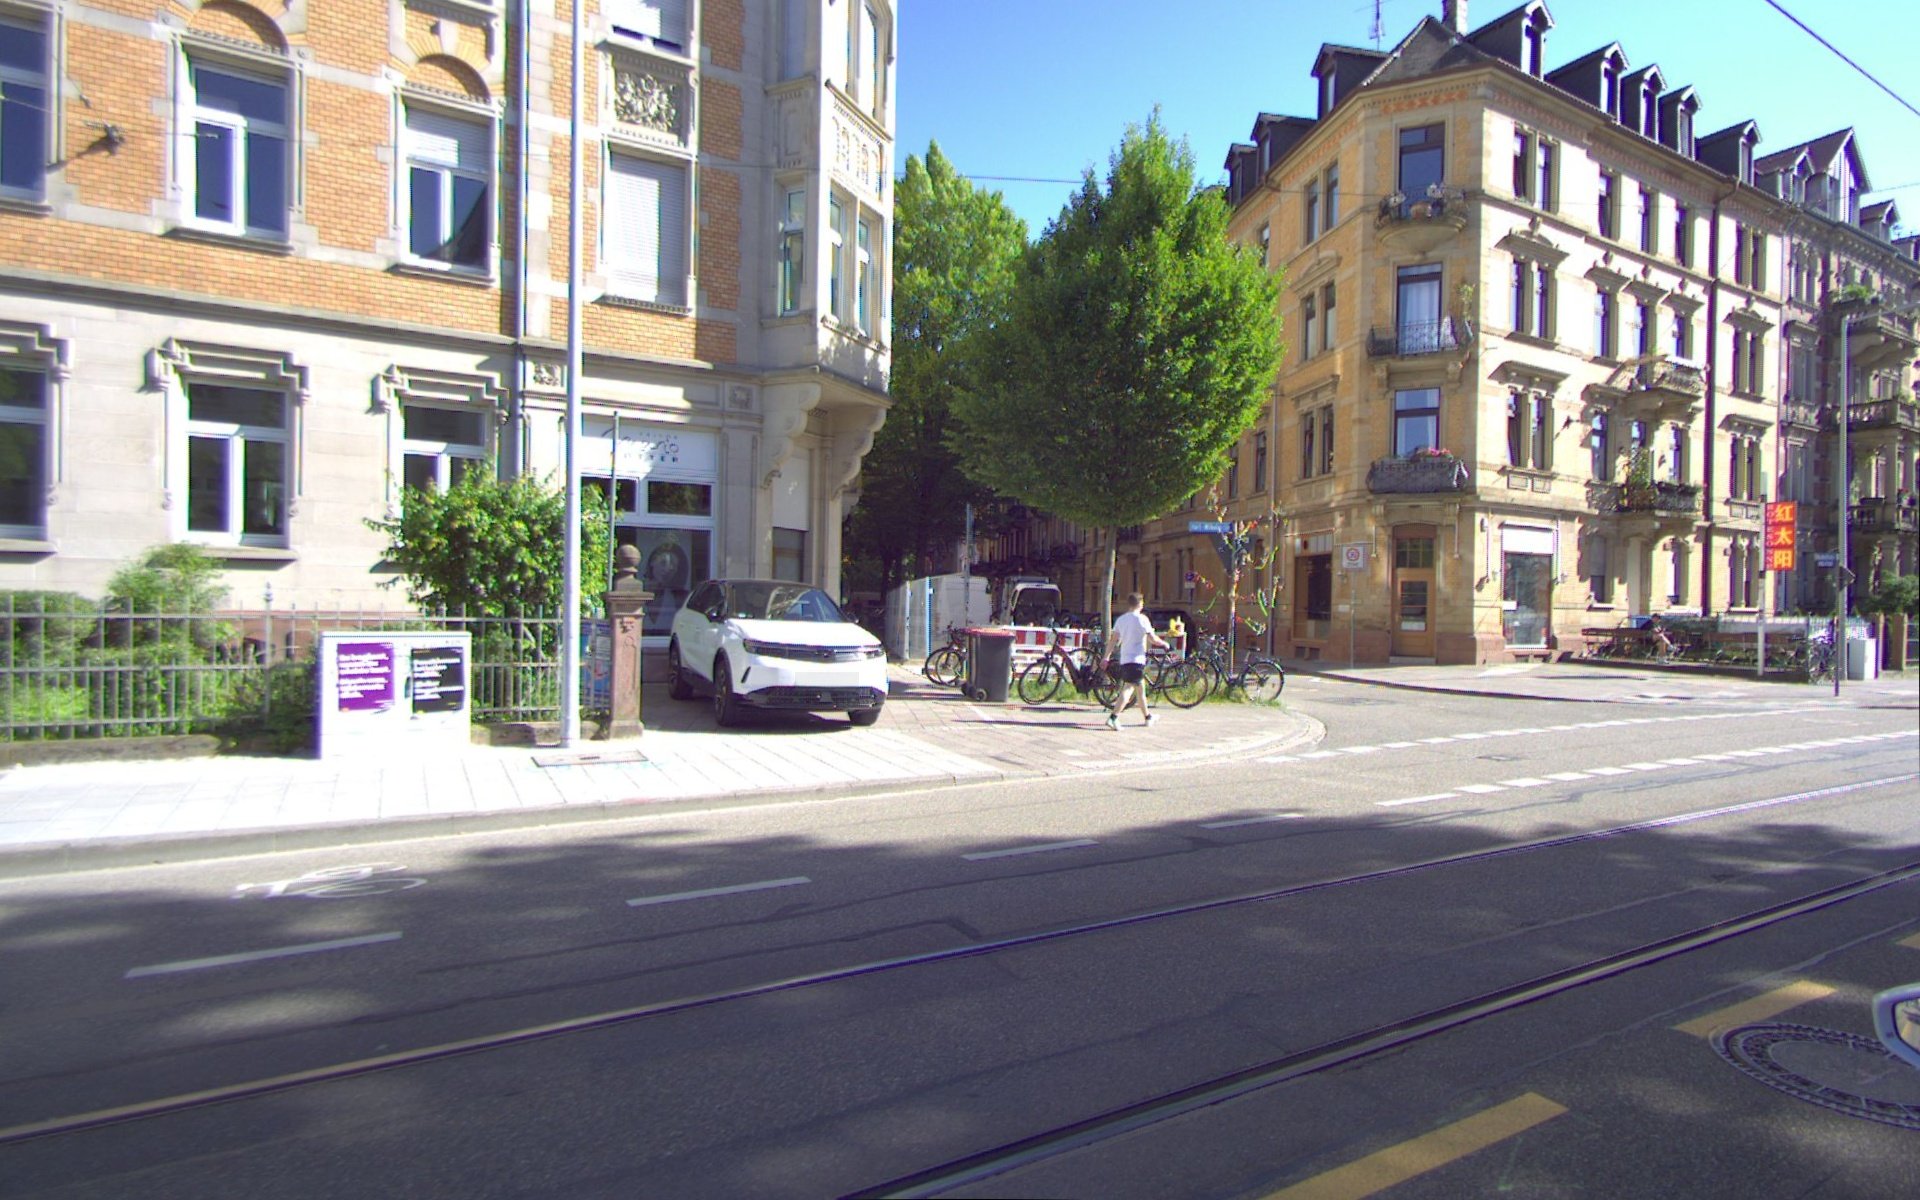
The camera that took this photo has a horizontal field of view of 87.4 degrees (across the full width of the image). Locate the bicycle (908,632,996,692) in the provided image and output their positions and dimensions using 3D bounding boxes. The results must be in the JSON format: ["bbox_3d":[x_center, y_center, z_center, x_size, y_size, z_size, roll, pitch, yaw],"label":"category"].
[{"bbox_3d":[-0.148,1.048,17.202,1.513,0.926,0.247,2,0,25],"label":"bicycle"}]

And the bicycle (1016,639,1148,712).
[{"bbox_3d":[1.759,1.067,14.515,1.754,0.926,0.620,2,0,25],"label":"bicycle"}]

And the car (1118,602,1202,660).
[{"bbox_3d":[6.962,1.040,35.296,1.805,1.773,3.586,-2,2,-7],"label":"car"}]

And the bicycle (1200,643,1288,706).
[{"bbox_3d":[4.655,1.209,16.451,1.270,0.926,0.620,2,0,25],"label":"bicycle"}]

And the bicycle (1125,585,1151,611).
[{"bbox_3d":[8.293,-0.099,46.846,0.545,1.141,2.130,1,0,-8],"label":"bicycle"}]

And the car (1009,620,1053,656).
[{"bbox_3d":[3.628,1.935,51.819,1.570,1.750,3.532,0,-2,-8],"label":"car"}]

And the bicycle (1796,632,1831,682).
[{"bbox_3d":[20.297,1.350,23.886,0.799,1.141,0.369,1,2,-30],"label":"bicycle"}]

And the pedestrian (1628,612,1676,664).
[{"bbox_3d":[18.701,1.021,27.160,0.570,1.370,0.897,1,-2,-28],"label":"pedestrian"}]

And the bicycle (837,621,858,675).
[{"bbox_3d":[-2.406,1.006,21.488,0.398,1.051,1.602,0,1,-5],"label":"bicycle"}]

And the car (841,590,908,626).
[{"bbox_3d":[-6.925,0.666,81.254,5.290,2.736,1.579,1,-2,-10],"label":"car"}]

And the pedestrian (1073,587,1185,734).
[{"bbox_3d":[2.138,0.744,12.730,1.071,1.746,0.824,2,1,-34],"label":"pedestrian"}]

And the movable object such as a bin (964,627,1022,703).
[{"bbox_3d":[0.495,0.976,15.187,0.704,1.085,0.576,1,1,-17],"label":"movable object such as a bin"}]

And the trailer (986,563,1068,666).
[{"bbox_3d":[1.856,0.441,28.683,1.794,2.731,2.926,2,-2,-7],"label":"trailer"}]

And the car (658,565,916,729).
[{"bbox_3d":[-2.371,0.441,12.610,1.941,1.665,4.429,2,1,-27],"label":"car"}]

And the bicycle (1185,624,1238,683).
[{"bbox_3d":[4.713,0.967,18.745,0.569,0.989,1.986,2,0,25],"label":"bicycle"}]

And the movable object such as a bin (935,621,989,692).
[{"bbox_3d":[0.022,0.895,16.002,0.704,1.085,0.576,1,1,-17],"label":"movable object such as a bin"}]

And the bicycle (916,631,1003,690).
[{"bbox_3d":[-0.021,1.043,17.452,1.513,0.926,0.247,2,0,25],"label":"bicycle"}]

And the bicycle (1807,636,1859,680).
[{"bbox_3d":[20.841,1.375,23.966,1.848,1.014,0.333,1,1,-31],"label":"bicycle"}]

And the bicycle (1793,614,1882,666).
[{"bbox_3d":[24.327,1.093,27.881,0.608,1.338,1.748,1,2,-39],"label":"bicycle"}]

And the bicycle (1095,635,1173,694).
[{"bbox_3d":[2.979,1.093,17.266,1.268,0.926,0.621,2,0,8],"label":"bicycle"}]

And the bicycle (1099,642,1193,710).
[{"bbox_3d":[2.851,1.145,15.416,1.270,0.926,0.620,2,0,25],"label":"bicycle"}]
